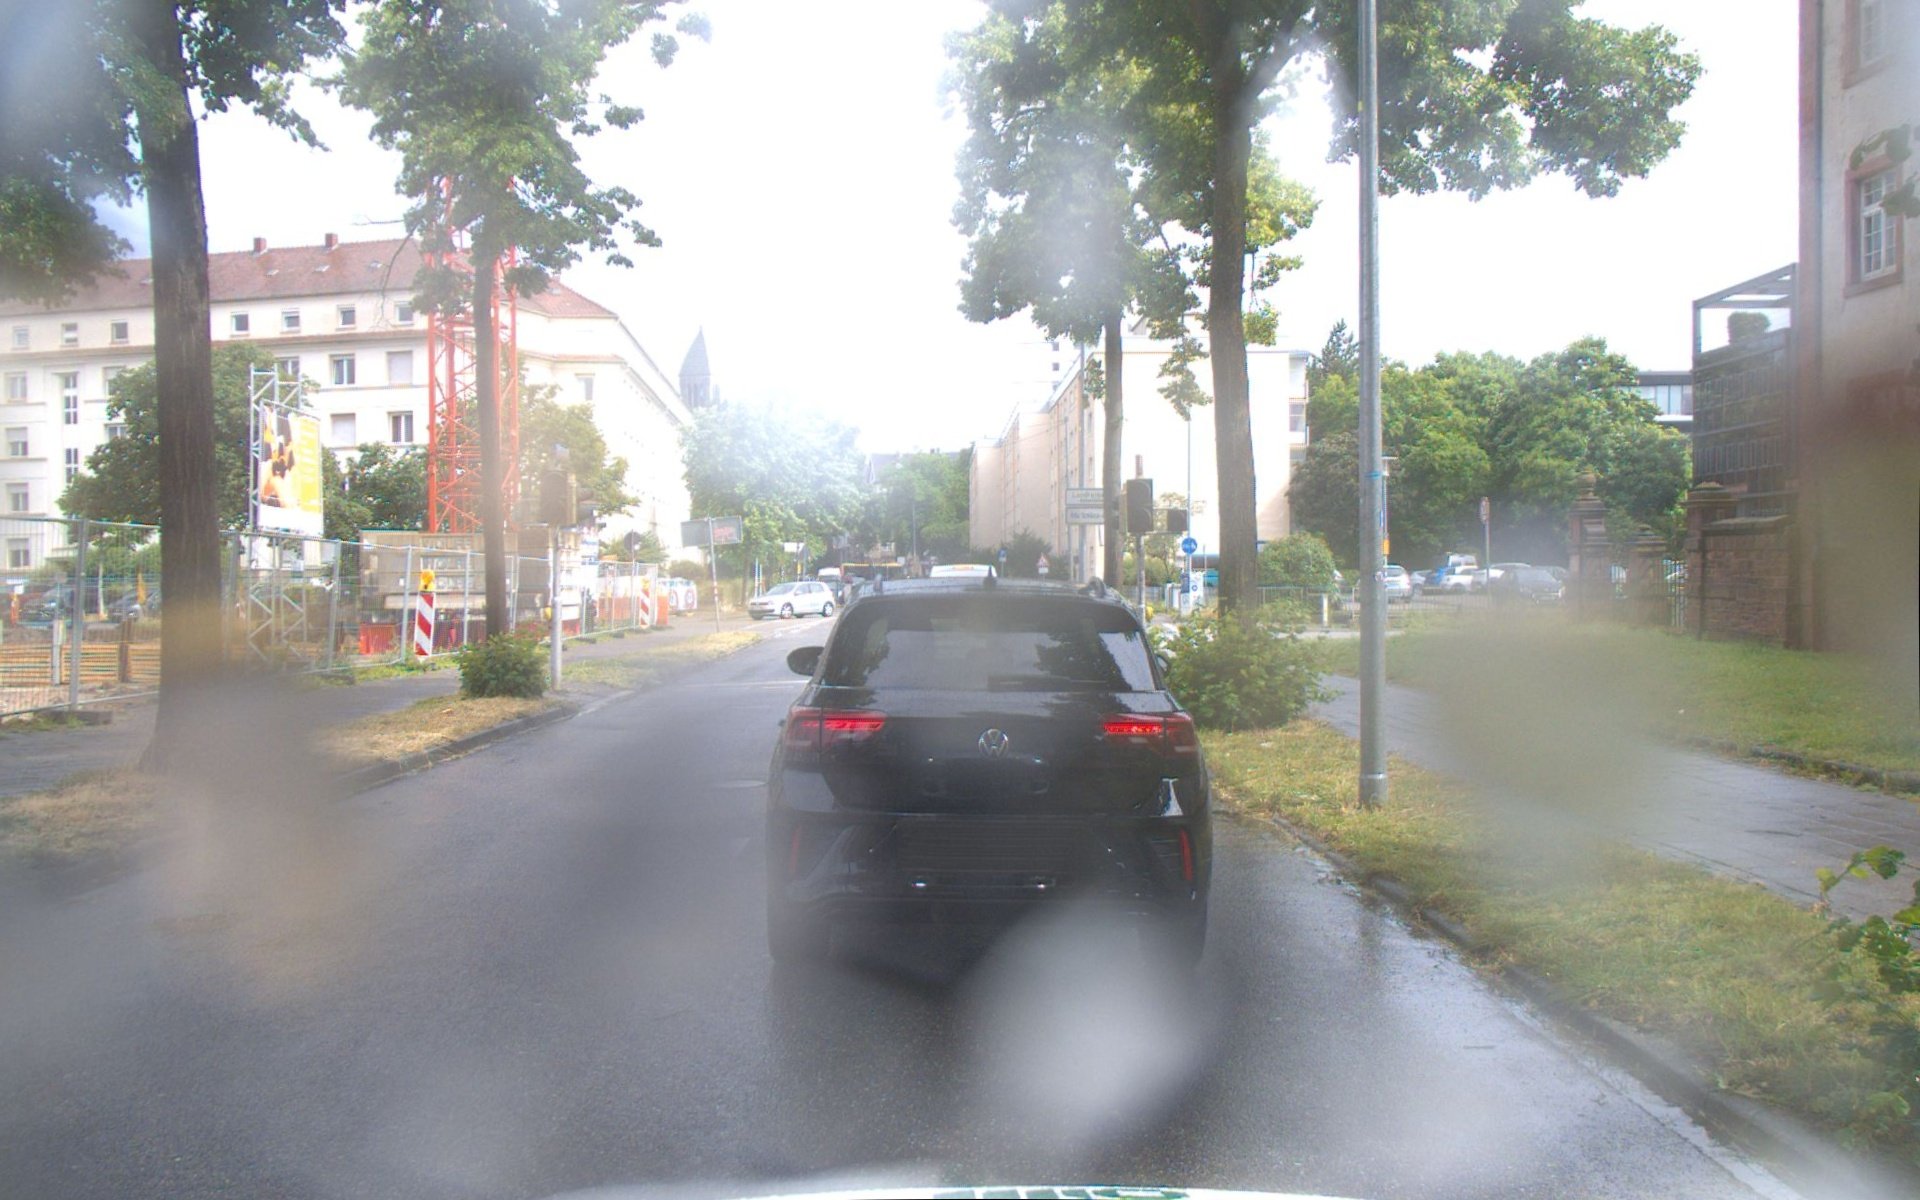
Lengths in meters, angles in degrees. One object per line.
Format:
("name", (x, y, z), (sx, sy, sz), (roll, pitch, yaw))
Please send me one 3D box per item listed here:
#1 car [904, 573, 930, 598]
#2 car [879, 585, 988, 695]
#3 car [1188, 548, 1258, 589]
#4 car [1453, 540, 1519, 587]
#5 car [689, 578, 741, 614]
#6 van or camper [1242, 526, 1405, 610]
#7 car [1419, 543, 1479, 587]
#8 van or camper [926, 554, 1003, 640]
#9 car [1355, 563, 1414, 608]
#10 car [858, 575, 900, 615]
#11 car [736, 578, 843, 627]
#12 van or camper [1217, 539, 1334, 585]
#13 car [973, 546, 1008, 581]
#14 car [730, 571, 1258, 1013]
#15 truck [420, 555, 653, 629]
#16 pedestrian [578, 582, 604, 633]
("car", (-2.781, -0.948, 106.856), (1.559, 1.538, 3.730), (-4, 1, -2))
("car", (-0.405, 0.665, 29.559), (1.645, 1.738, 3.911), (-3, 0, 2))
("car", (13.142, -1.591, 82.708), (3.335, 1.812, 1.761), (-4, 0, 8))
("car", (25.118, -1.716, 79.072), (1.952, 2.048, 4.002), (-3, 0, 3))
("car", (-11.608, -0.208, 78.576), (1.557, 1.538, 3.734), (-4, 1, 5))
("van or camper", (12.155, -1.068, 55.517), (4.931, 2.641, 2.167), (-1, 0, -2))
("car", (24.915, -1.769, 84.431), (1.952, 2.048, 4.002), (-3, 0, 3))
("van or camper", (0.128, -0.103, 40.297), (1.782, 1.981, 4.195), (0, 1, 1))
("car", (17.627, -0.599, 68.827), (1.706, 1.713, 3.873), (-3, 0, 5))
("car", (-3.794, -0.257, 76.629), (1.754, 1.713, 4.483), (-4, 1, -4))
("car", (-6.793, 0.095, 65.934), (3.870, 1.679, 1.747), (-4, 1, -23))
("van or camper", (13.807, -1.673, 72.578), (4.775, 1.959, 2.131), (0, 1, 0))
("car", (1.845, -2.210, 100.799), (1.953, 2.049, 3.999), (-1, 0, -1))
("car", (0.106, 0.648, 7.813), (1.856, 1.549, 4.000), (0, 1, -1))
("truck", (-15.943, -0.337, 62.427), (8.038, 2.703, 2.817), (0, 1, 8))
("pedestrian", (-11.220, 0.227, 50.317), (0.652, 1.511, 0.667), (-1, 1, -25))
